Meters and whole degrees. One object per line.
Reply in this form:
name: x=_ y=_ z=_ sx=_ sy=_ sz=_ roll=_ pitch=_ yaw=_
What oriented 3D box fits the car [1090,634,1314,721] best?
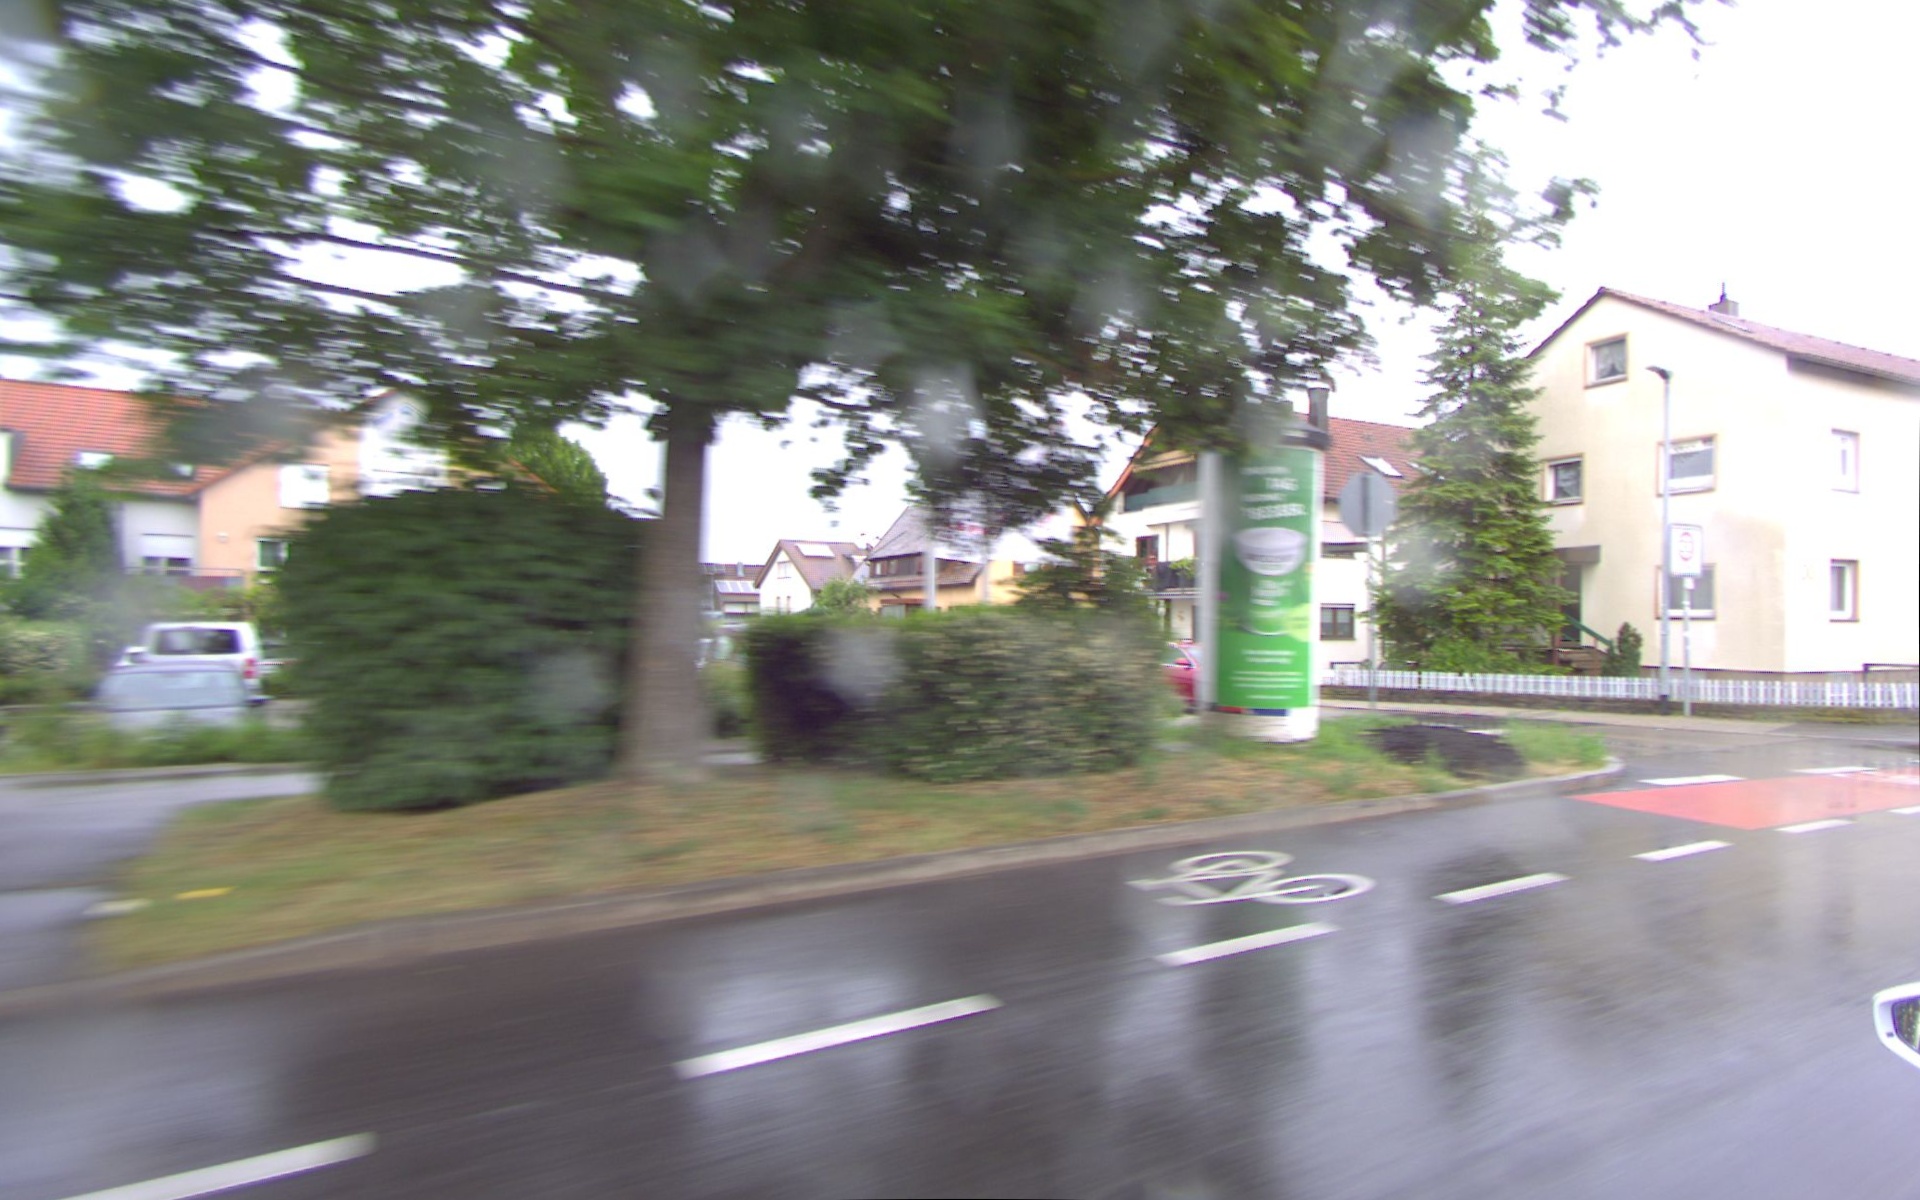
car: x=4.851 y=1.539 z=20.844 sx=1.853 sy=1.588 sz=4.621 roll=2 pitch=-3 yaw=-30

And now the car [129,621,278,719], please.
car: x=-15.728 y=1.419 z=21.129 sx=2.024 sy=1.814 sz=4.526 roll=2 pitch=-3 yaw=-32

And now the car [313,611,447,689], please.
car: x=-13.303 y=1.147 z=22.912 sx=2.159 sy=1.588 sz=4.519 roll=3 pitch=-4 yaw=-36
